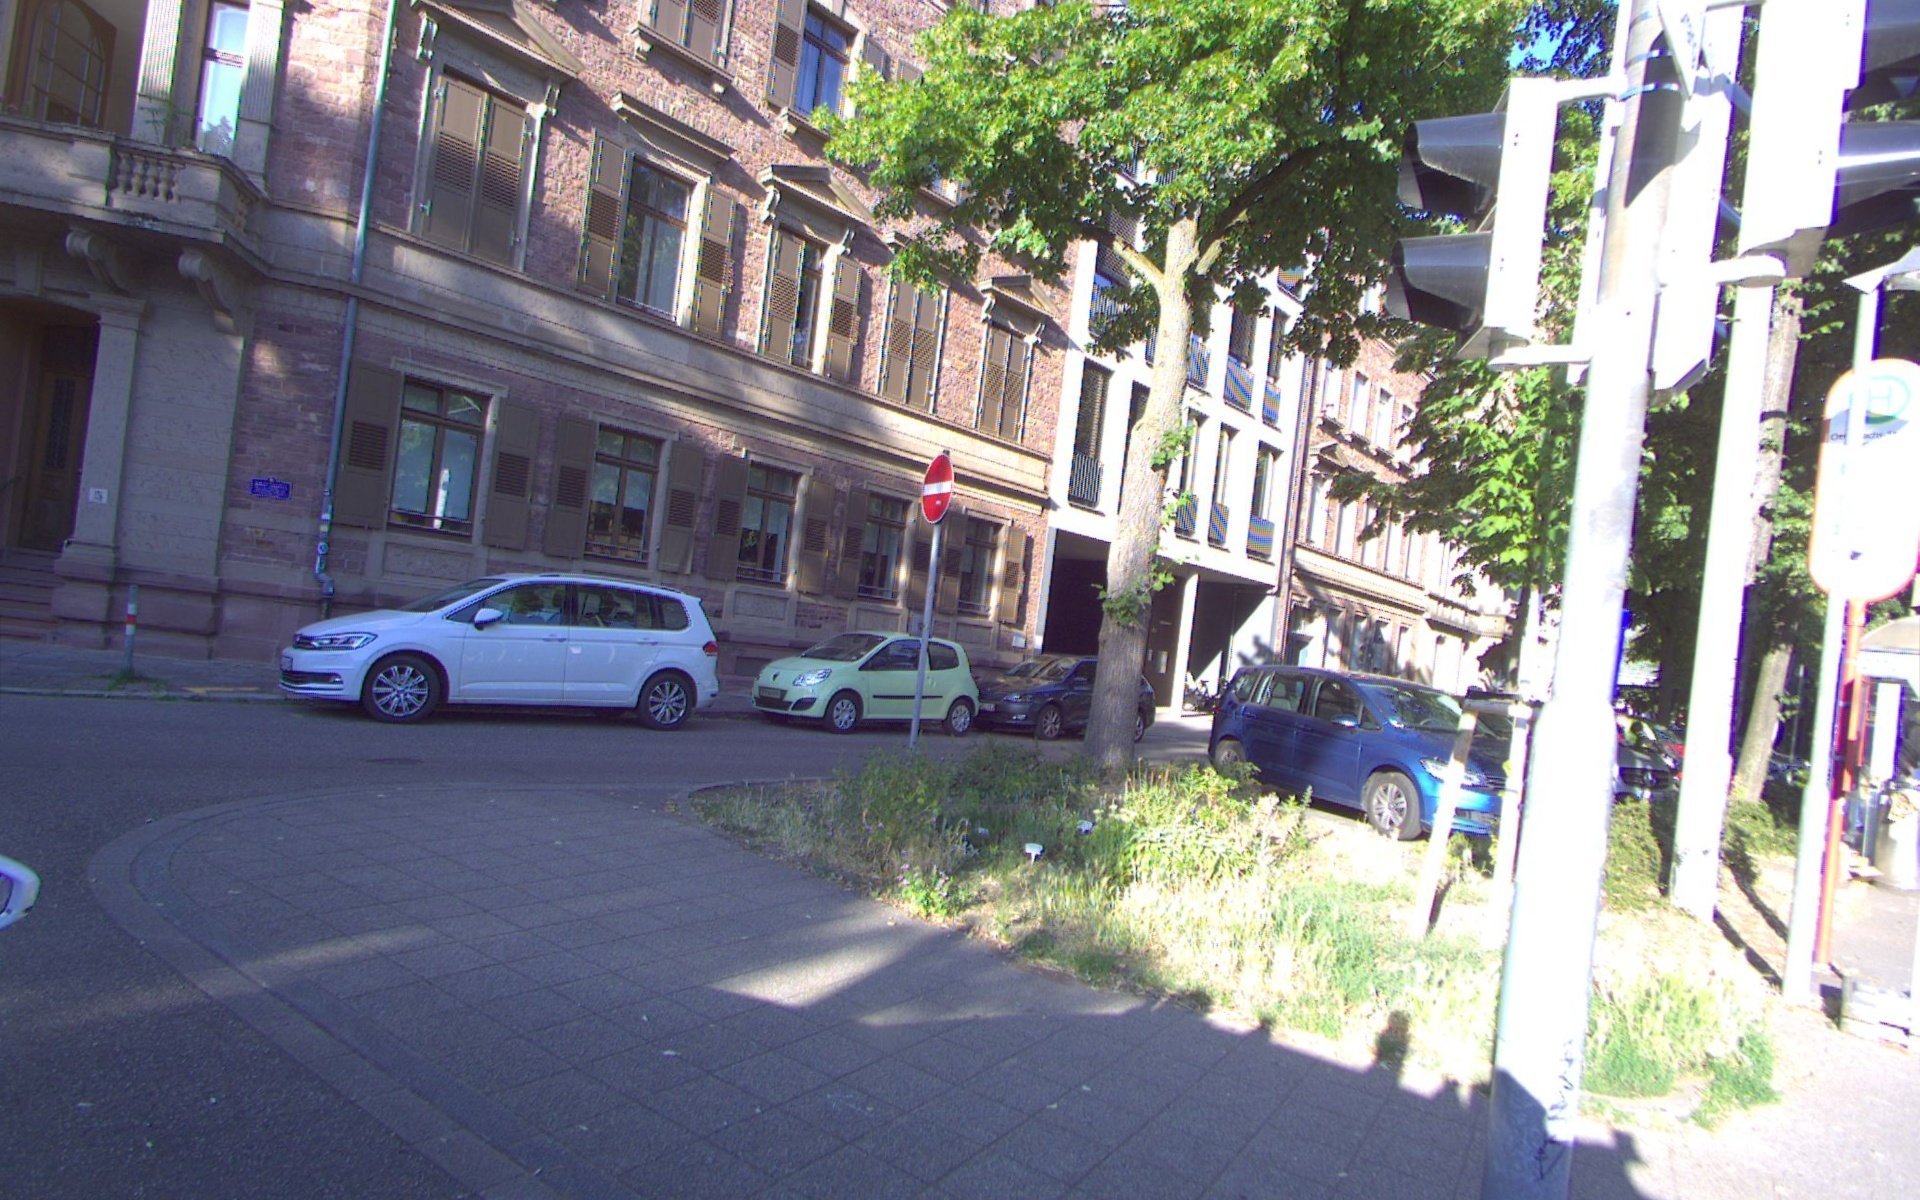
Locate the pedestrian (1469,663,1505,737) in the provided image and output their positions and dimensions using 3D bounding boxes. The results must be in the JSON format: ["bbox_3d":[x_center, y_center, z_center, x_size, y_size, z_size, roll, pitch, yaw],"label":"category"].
[{"bbox_3d":[22.268,4.233,42.496,0.908,2.983,0.697,7,0,41],"label":"pedestrian"}]

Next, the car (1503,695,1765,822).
[{"bbox_3d":[13.778,3.176,20.983,1.896,1.742,4.549,8,-1,-6],"label":"car"}]

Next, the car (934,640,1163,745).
[{"bbox_3d":[1.683,1.692,18.003,4.141,1.506,1.721,9,-4,-44],"label":"car"}]

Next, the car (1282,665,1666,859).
[{"bbox_3d":[6.559,1.996,13.558,1.900,1.654,4.539,8,-1,-15],"label":"car"}]

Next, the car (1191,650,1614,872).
[{"bbox_3d":[4.559,1.592,11.232,1.717,1.706,4.406,8,-3,-17],"label":"car"}]

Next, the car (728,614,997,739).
[{"bbox_3d":[-1.357,1.187,15.051,1.720,1.506,3.706,3,-4,44],"label":"car"}]

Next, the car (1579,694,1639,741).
[{"bbox_3d":[36.558,6.640,56.621,1.972,2.198,4.593,8,-1,42],"label":"car"}]

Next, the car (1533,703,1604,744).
[{"bbox_3d":[29.066,5.909,47.974,1.972,1.586,4.593,7,-1,42],"label":"car"}]

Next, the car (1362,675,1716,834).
[{"bbox_3d":[8.497,2.200,15.349,1.900,1.504,4.539,8,-1,-15],"label":"car"}]

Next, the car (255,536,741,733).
[{"bbox_3d":[-4.932,0.491,11.242,1.852,1.668,4.473,3,-4,45],"label":"car"}]

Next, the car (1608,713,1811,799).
[{"bbox_3d":[20.568,4.248,27.849,1.780,1.504,4.273,8,-1,-12],"label":"car"}]

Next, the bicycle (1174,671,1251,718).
[{"bbox_3d":[7.534,2.833,30.029,2.066,1.129,0.680,8,-1,-18],"label":"bicycle"}]

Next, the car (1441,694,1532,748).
[{"bbox_3d":[19.567,4.501,37.286,1.972,1.586,4.225,7,-1,41],"label":"car"}]

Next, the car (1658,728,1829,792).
[{"bbox_3d":[26.513,5.378,34.242,1.781,1.294,4.270,8,-1,-15],"label":"car"}]

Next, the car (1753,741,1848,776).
[{"bbox_3d":[49.928,9.398,59.844,1.722,1.294,3.988,8,-1,-15],"label":"car"}]

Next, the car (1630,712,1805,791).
[{"bbox_3d":[24.443,4.848,32.667,1.780,1.715,4.273,8,-1,-12],"label":"car"}]

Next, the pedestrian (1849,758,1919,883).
[{"bbox_3d":[10.893,2.532,11.584,0.872,1.288,0.814,8,-1,-44],"label":"pedestrian"}]
